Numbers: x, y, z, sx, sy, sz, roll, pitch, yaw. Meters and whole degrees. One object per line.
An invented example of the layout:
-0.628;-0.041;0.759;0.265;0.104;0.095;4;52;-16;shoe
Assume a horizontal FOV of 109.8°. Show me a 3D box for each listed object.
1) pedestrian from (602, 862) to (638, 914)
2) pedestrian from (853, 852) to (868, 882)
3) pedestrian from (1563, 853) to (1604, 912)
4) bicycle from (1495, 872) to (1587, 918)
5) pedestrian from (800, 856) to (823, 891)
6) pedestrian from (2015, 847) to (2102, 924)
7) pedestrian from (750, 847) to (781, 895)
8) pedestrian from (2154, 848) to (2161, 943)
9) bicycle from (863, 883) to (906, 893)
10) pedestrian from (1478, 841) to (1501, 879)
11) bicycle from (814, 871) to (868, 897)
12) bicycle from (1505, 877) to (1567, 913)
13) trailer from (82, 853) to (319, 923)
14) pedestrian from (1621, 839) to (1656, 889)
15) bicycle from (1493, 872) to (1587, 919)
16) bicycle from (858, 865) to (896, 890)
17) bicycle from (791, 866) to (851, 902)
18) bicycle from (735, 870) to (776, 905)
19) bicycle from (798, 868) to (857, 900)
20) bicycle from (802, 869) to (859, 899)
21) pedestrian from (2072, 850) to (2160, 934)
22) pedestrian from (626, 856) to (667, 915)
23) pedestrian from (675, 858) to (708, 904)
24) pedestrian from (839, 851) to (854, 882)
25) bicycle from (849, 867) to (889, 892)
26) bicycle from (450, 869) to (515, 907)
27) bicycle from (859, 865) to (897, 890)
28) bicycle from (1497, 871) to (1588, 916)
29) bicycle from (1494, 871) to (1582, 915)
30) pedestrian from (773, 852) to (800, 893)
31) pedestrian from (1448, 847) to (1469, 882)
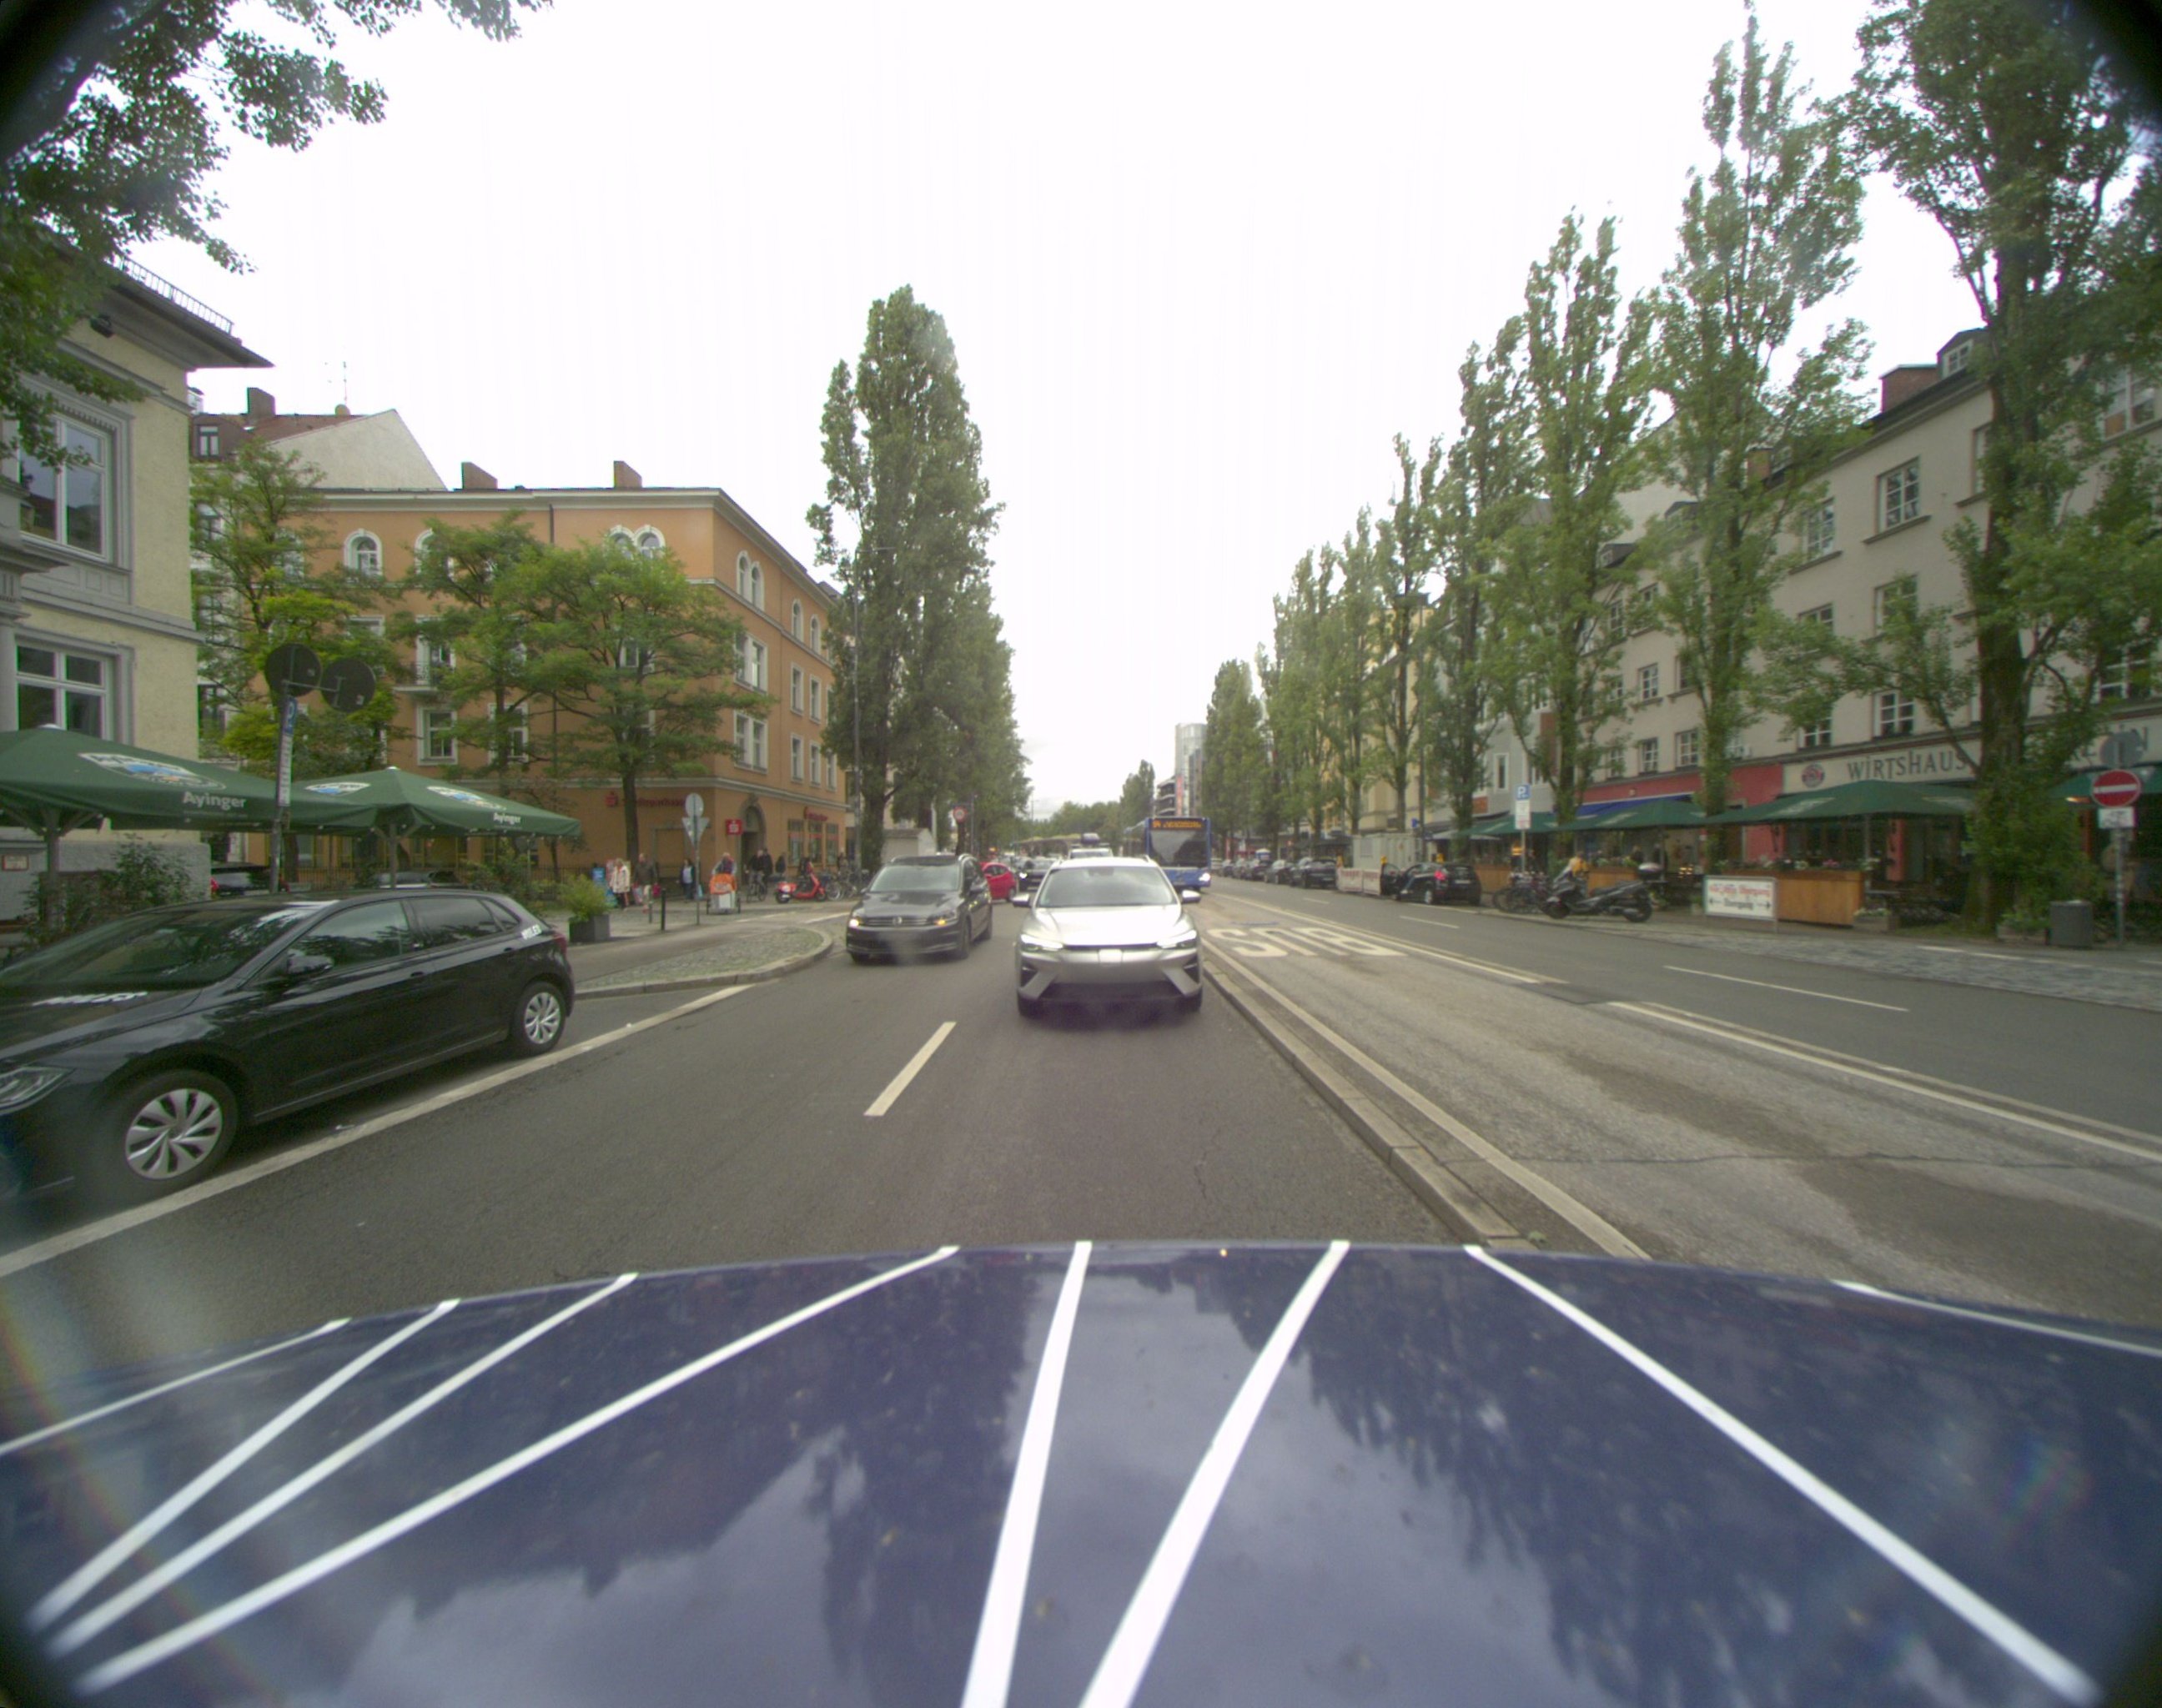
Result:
-14.364;1.055;23.694;0.699;1.562;0.575;-2;1;3;pedestrian
-12.379;0.714;42.681;0.619;1.684;0.574;-2;1;-8;pedestrian
14.738;0.832;22.307;0.731;1.716;0.700;0;1;-1;pedestrian
11.776;1.039;19.509;1.976;1.119;0.283;-2;1;37;bicycle
-12.250;0.869;34.555;0.745;1.562;0.614;-2;1;3;pedestrian
21.509;0.666;16.737;0.699;1.637;0.929;0;1;6;pedestrian
-13.033;0.690;31.420;0.839;1.937;0.802;-2;1;1;pedestrian
19.845;0.745;13.324;0.699;1.712;0.950;0;1;4;pedestrian
-8.517;1.474;32.966;1.677;0.371;0.830;1;0;-7;bicycle
20.591;0.297;38.300;0.699;1.915;0.905;0;1;4;pedestrian
-9.462;1.177;29.989;1.945;1.004;0.561;-1;1;1;bicycle
13.792;1.215;23.084;0.613;0.963;2.174;-1;0;1;bicycle
-28.068;1.044;24.357;5.252;2.016;1.906;-1;0;-1;trailer
21.439;0.380;29.213;0.699;1.915;0.905;0;1;4;pedestrian
11.585;1.037;19.225;1.976;1.119;0.361;-2;1;37;bicycle
-9.153;1.061;34.043;1.610;1.078;0.321;-1;1;-22;bicycle
-9.363;1.073;27.346;1.945;1.232;0.561;-1;1;1;bicycle
-11.452;1.160;26.797;0.737;1.113;2.100;-1;0;-7;bicycle
-9.323;1.102;27.990;1.945;1.130;0.561;-1;1;1;bicycle
-9.417;1.119;28.641;1.945;1.082;0.561;-1;1;1;bicycle
20.355;0.736;14.955;0.699;1.614;0.732;0;1;4;pedestrian
-13.221;0.942;23.140;0.699;1.756;0.732;-2;1;4;pedestrian
-13.811;0.959;26.938;0.745;1.562;0.664;-2;1;4;pedestrian
-13.056;0.689;42.366;0.634;1.684;0.574;-2;1;-6;pedestrian
-8.957;1.081;32.108;1.602;1.004;0.342;-1;1;-6;bicycle
-22.450;1.274;28.510;1.945;1.364;0.561;-2;1;2;bicycle
-8.997;1.043;33.712;1.604;1.078;0.341;-1;1;-22;bicycle
11.950;1.024;19.733;1.976;1.119;0.283;-2;1;37;bicycle
12.260;1.044;20.424;1.976;1.119;0.343;-2;1;37;bicycle
-12.243;0.769;31.636;0.746;1.651;0.771;-2;1;-1;pedestrian
20.549;0.574;41.350;0.699;1.915;0.905;0;1;4;pedestrian
